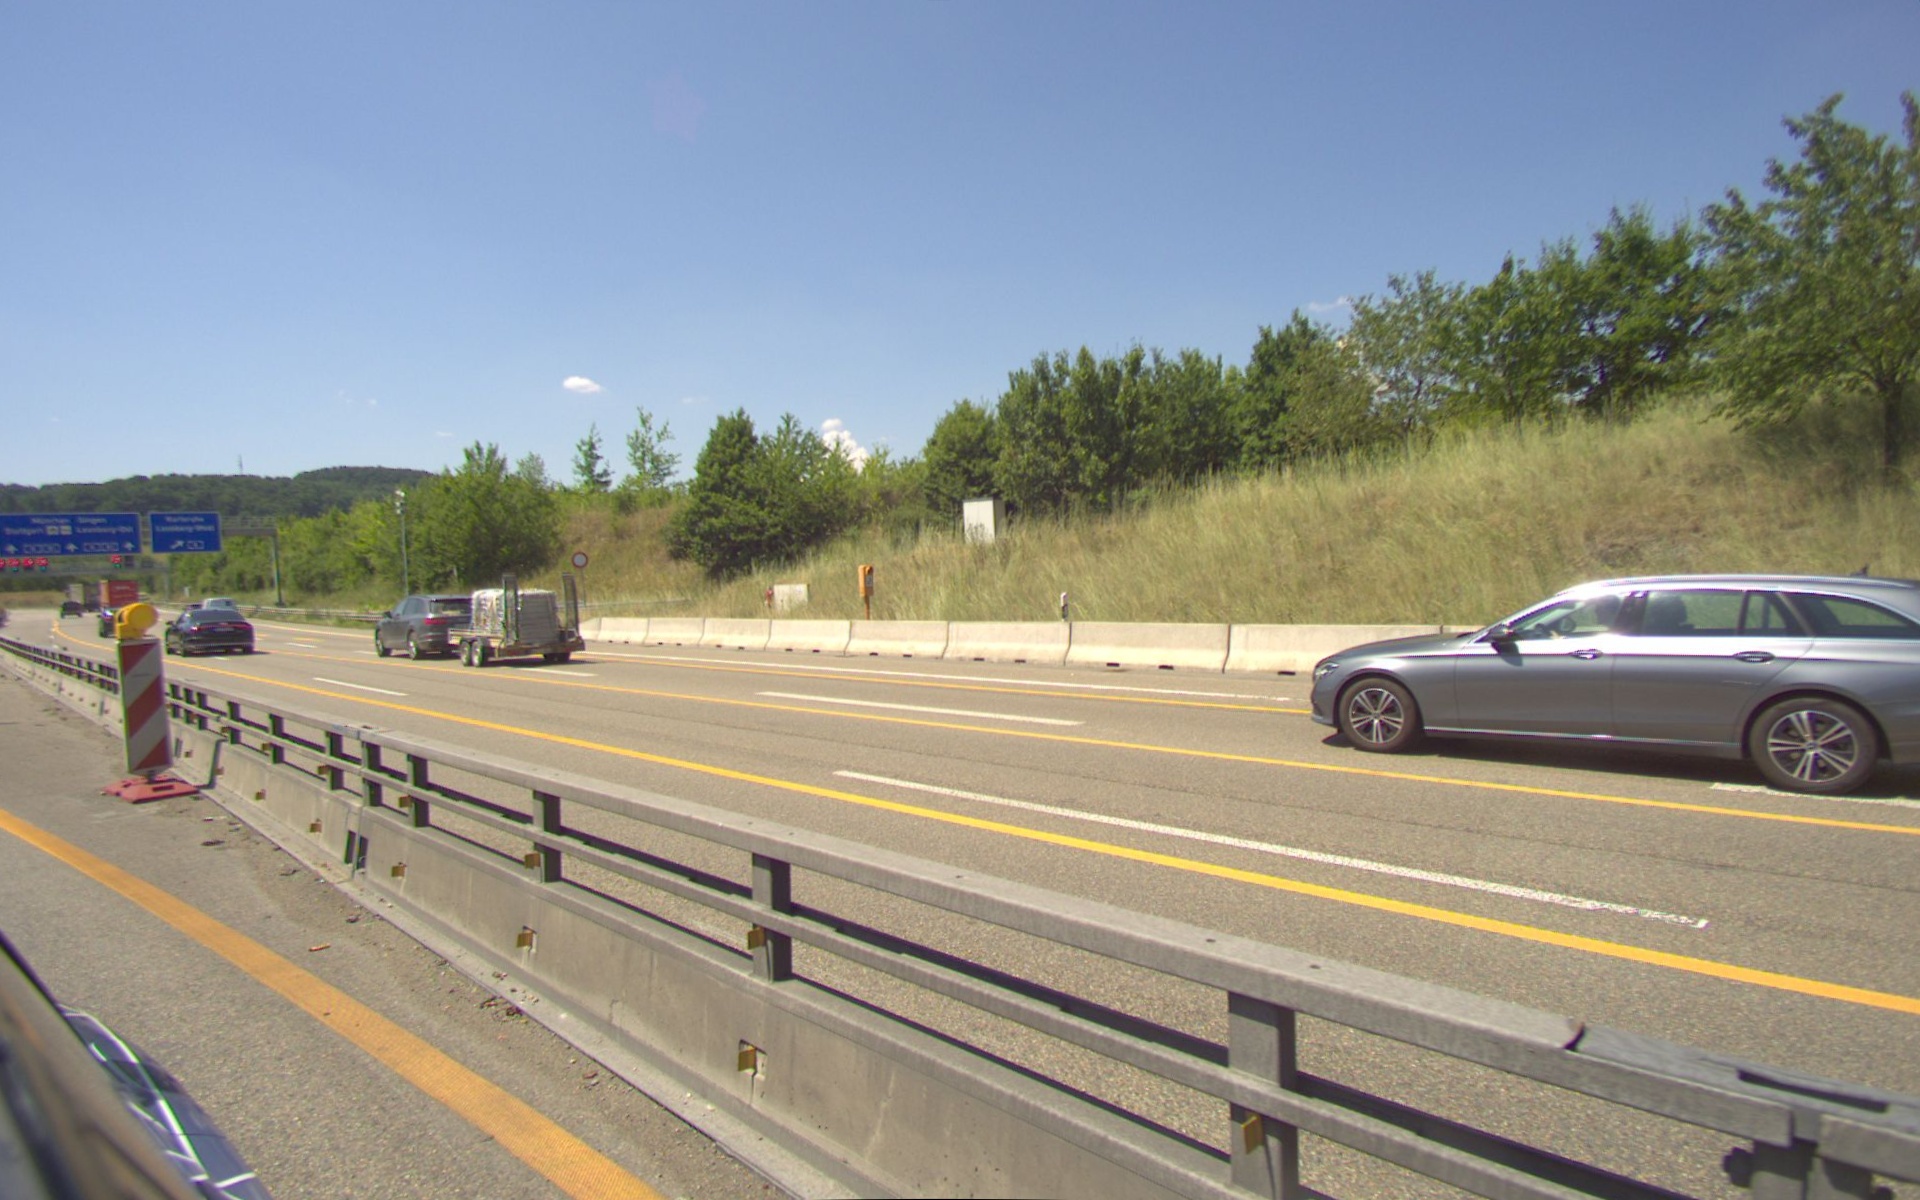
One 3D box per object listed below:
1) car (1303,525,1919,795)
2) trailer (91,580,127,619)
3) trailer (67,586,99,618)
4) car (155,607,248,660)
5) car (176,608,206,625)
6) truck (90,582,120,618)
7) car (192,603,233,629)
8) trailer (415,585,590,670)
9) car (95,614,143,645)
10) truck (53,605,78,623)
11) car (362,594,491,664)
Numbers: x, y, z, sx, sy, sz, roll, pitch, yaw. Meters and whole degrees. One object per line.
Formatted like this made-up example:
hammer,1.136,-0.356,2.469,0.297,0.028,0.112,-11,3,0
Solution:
car,5.421,0.406,8.045,4.809,1.679,1.753,-2,-1,44
trailer,-95.592,-0.007,113.641,2.310,4.132,13.275,-3,2,-43
trailer,-125.992,0.388,145.317,2.408,4.328,13.818,-3,2,-45
car,-24.884,1.077,33.120,1.753,1.605,4.988,0,-1,-45
car,-65.449,1.371,86.153,1.667,1.405,4.004,0,0,-43
truck,-100.190,0.007,118.617,2.307,4.138,5.022,-3,2,-43
car,-53.827,1.127,72.843,4.789,1.848,1.668,0,0,45
trailer,-11.069,0.643,24.239,5.524,1.819,1.924,-2,-1,44
car,-46.293,1.590,55.678,1.722,1.605,4.231,-1,0,-44
truck,-100.890,1.617,114.134,1.970,1.887,4.766,-3,1,-43
car,-14.784,0.789,27.905,4.869,1.740,1.753,-2,-1,44
